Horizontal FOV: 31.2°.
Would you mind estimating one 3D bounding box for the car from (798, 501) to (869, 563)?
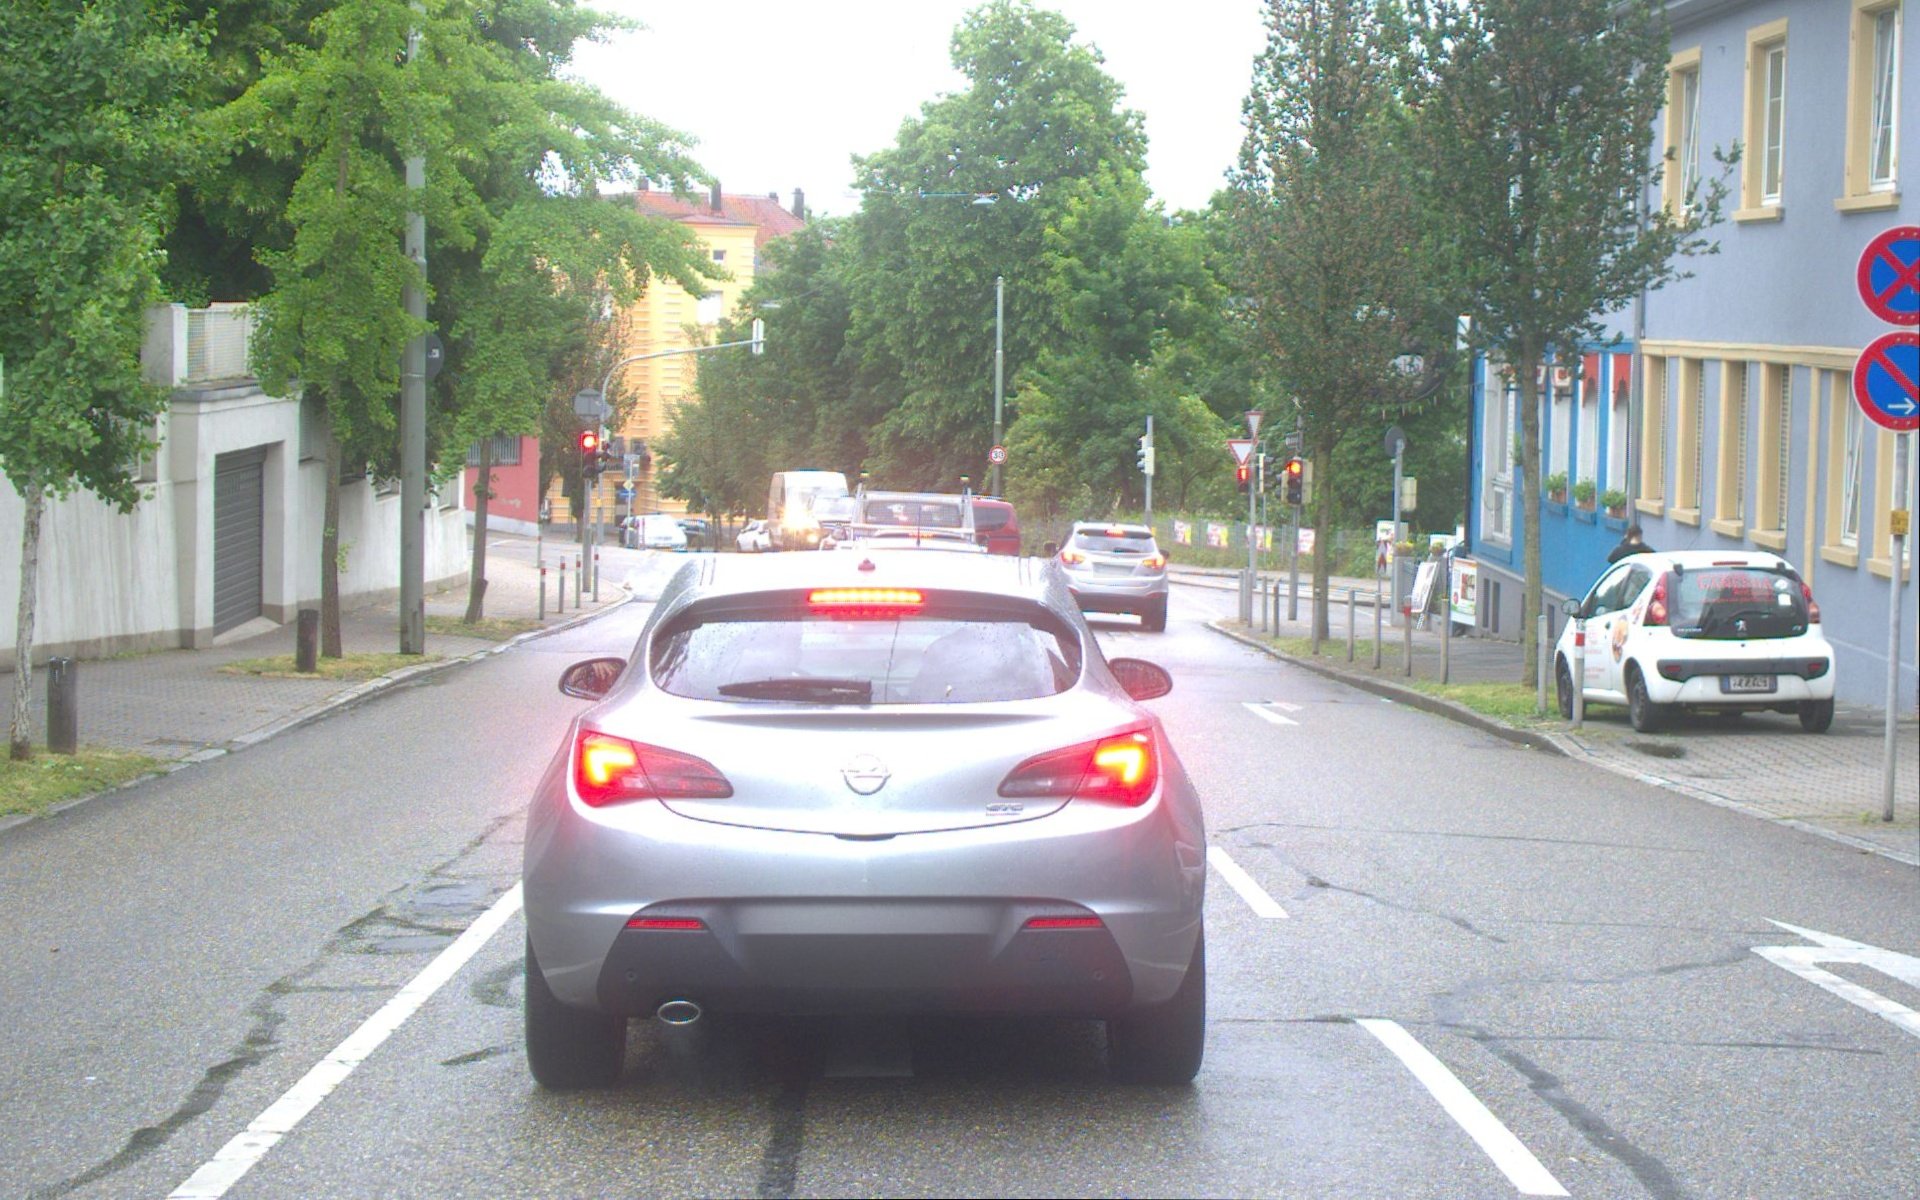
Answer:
[{"bbox_3d":[-3.412,-1.844,93.019,1.870,1.632,3.880,0,1,-2],"label":"car"}]

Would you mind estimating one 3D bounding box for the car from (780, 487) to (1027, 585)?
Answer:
[{"bbox_3d":[-1.084,-1.244,66.460,4.443,1.822,1.752,-1,1,-28],"label":"car"}]

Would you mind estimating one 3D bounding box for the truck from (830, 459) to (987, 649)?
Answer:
[{"bbox_3d":[-0.749,-0.666,47.509,1.962,2.420,4.936,2,1,-2],"label":"truck"}]

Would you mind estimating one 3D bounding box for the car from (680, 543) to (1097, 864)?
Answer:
[{"bbox_3d":[-0.410,0.468,18.758,1.962,1.443,4.306,2,1,-2],"label":"car"}]

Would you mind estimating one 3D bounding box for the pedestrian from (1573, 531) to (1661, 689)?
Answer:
[{"bbox_3d":[7.346,0.104,38.453,0.783,1.723,0.651,2,1,0],"label":"pedestrian"}]

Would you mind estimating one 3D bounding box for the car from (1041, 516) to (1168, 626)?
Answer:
[{"bbox_3d":[2.304,-0.495,55.545,1.722,1.708,3.880,0,1,-3],"label":"car"}]

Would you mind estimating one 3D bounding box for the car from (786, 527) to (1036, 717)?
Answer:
[{"bbox_3d":[-0.457,0.135,29.857,1.962,1.443,4.306,2,1,-2],"label":"car"}]

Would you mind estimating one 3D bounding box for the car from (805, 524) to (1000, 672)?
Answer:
[{"bbox_3d":[-0.656,-0.069,37.516,1.962,1.443,4.306,2,1,-2],"label":"car"}]

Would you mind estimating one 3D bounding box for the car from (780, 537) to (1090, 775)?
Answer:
[{"bbox_3d":[-0.225,0.325,24.479,1.962,1.443,4.306,2,1,-2],"label":"car"}]

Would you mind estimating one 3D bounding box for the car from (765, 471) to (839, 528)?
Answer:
[{"bbox_3d":[-4.650,-2.920,100.641,1.722,1.632,3.881,0,1,-9],"label":"car"}]

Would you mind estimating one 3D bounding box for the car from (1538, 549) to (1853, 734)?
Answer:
[{"bbox_3d":[6.144,0.301,29.120,1.722,1.443,3.880,0,1,-2],"label":"car"}]

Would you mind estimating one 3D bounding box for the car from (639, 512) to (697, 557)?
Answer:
[{"bbox_3d":[-9.696,-2.188,114.251,1.722,1.455,3.880,0,1,-2],"label":"car"}]

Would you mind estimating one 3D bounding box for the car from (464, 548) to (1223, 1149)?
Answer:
[{"bbox_3d":[-0.366,0.585,10.373,1.837,1.429,3.880,1,1,-2],"label":"car"}]

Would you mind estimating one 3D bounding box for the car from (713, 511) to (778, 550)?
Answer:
[{"bbox_3d":[-8.746,-2.831,139.747,1.722,1.538,3.881,0,1,-18],"label":"car"}]
